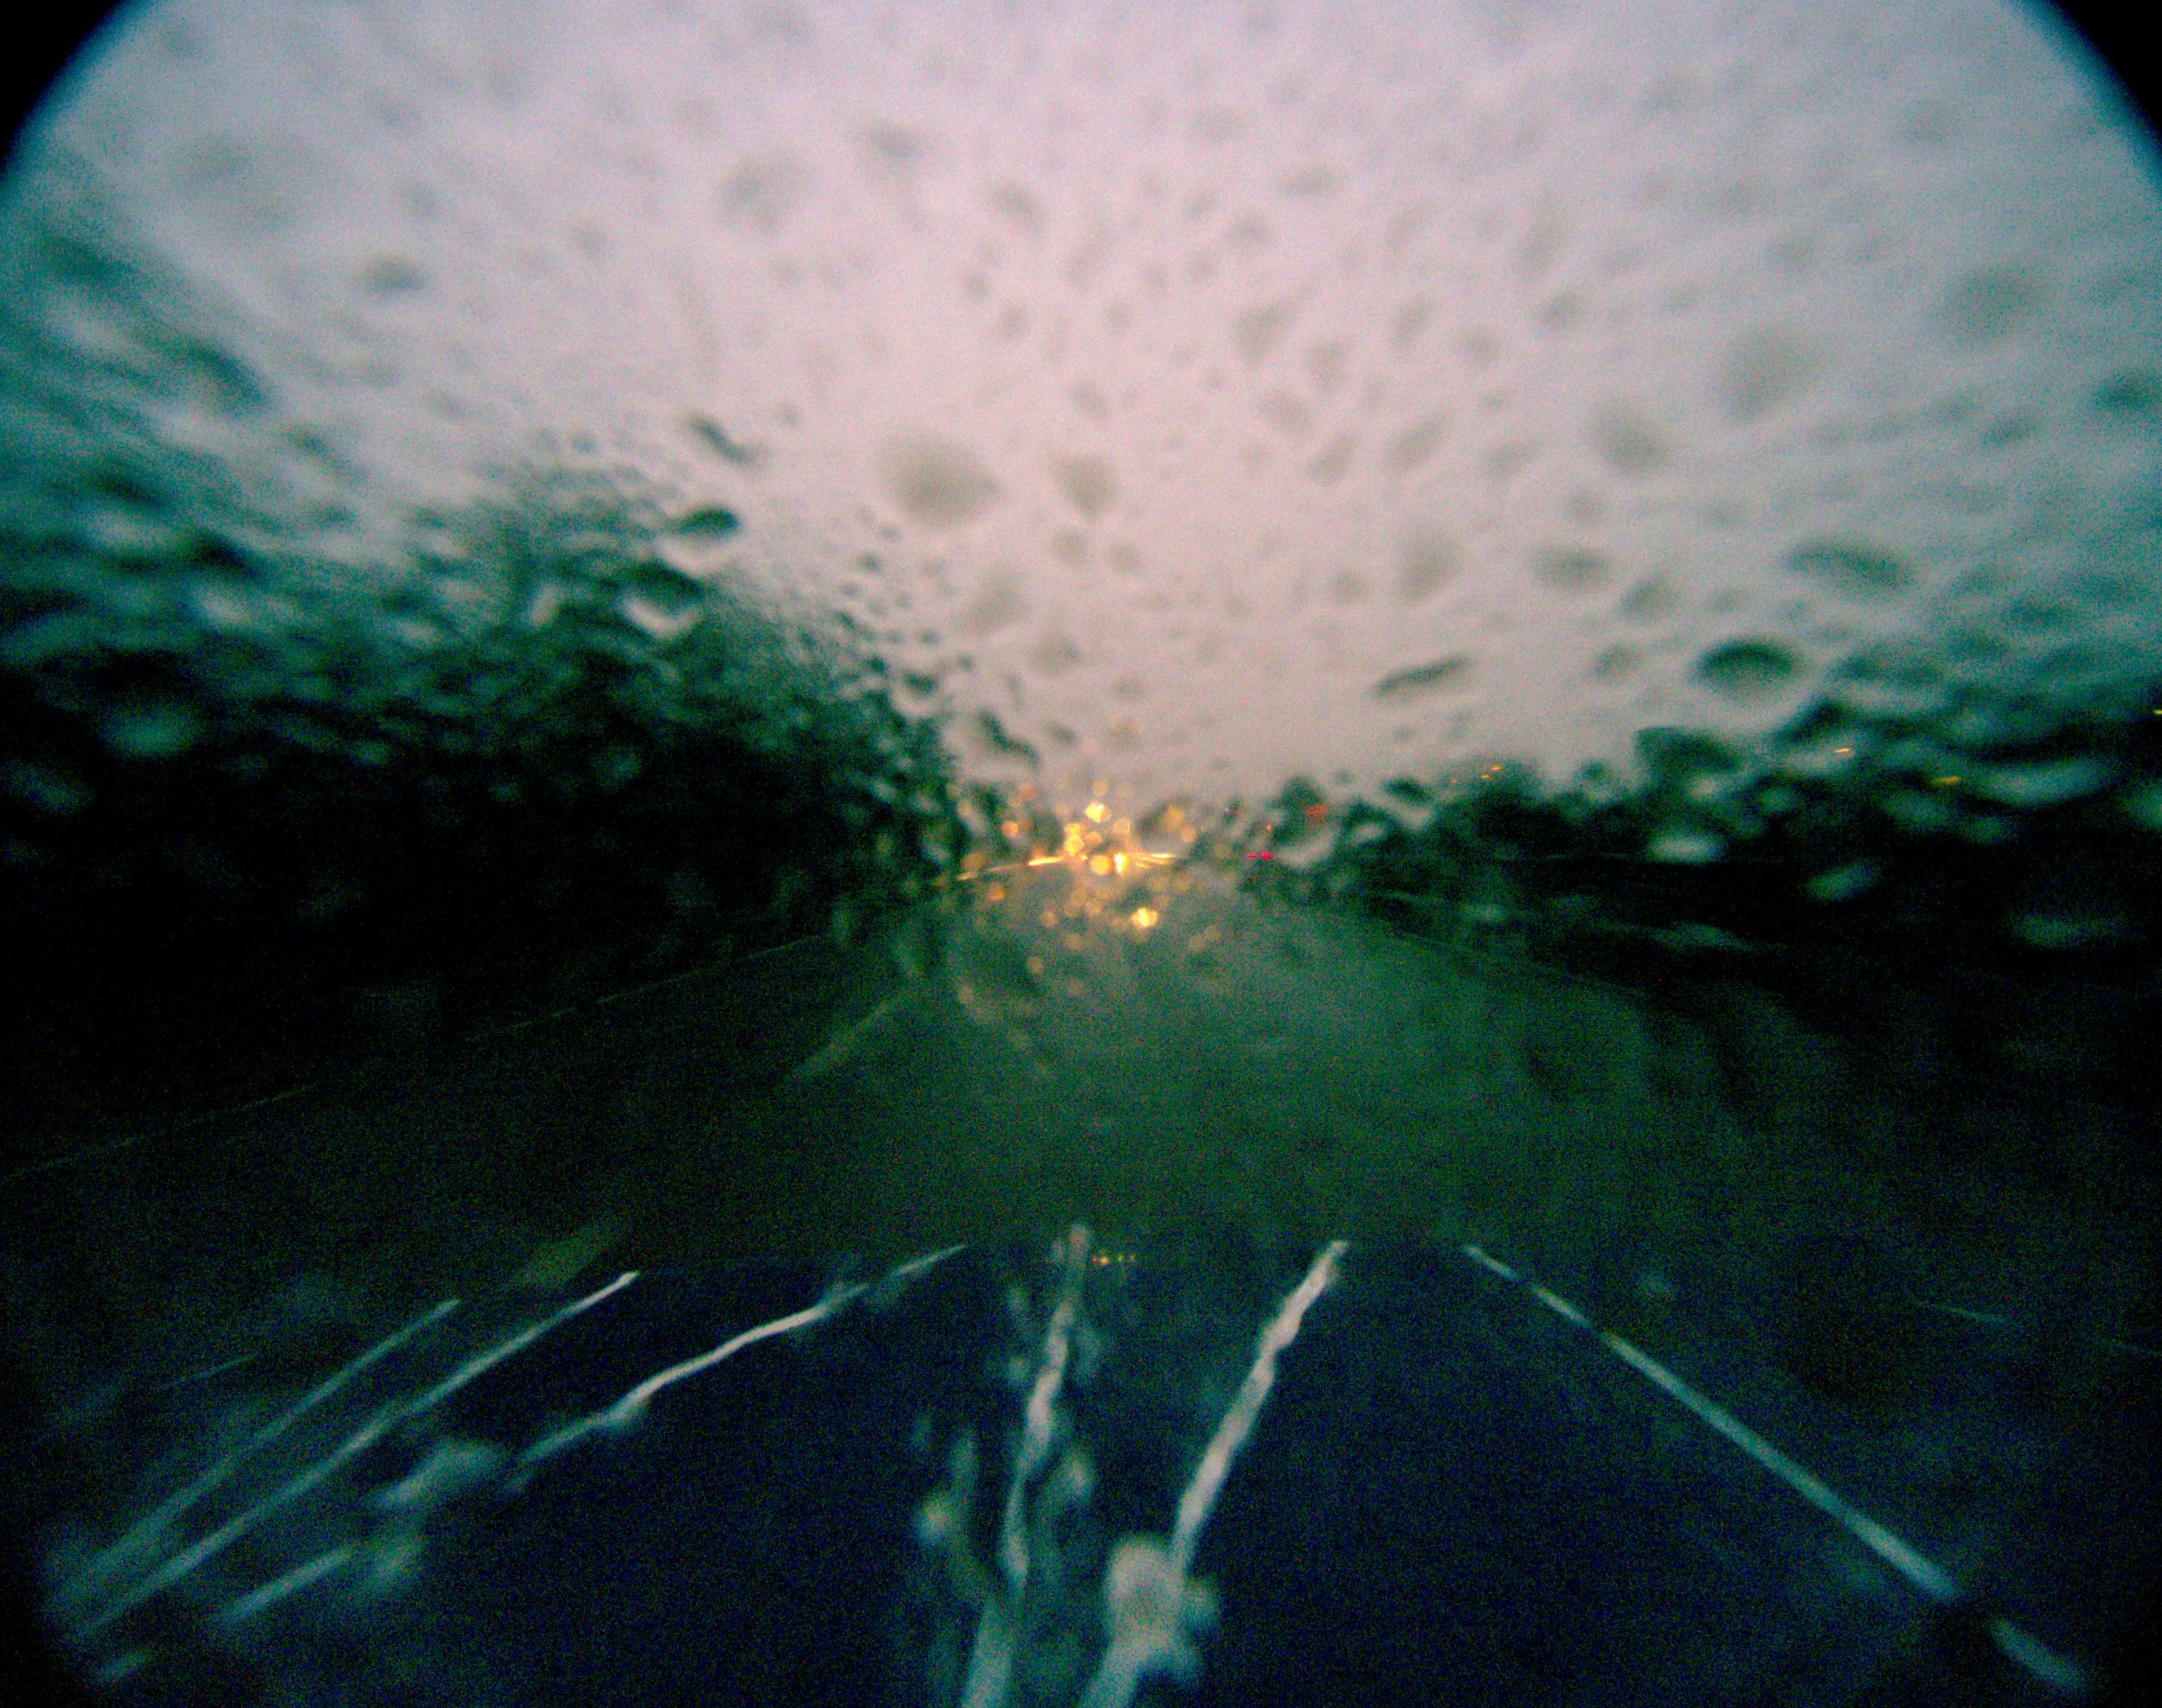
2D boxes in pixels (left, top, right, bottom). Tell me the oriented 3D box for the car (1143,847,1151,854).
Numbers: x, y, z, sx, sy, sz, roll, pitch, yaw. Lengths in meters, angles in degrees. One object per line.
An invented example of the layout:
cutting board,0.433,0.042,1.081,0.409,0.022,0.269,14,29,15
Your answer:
car,16.130,-0.872,186.646,1.745,1.630,4.000,-1,1,1

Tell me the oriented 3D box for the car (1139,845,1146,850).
car,18.640,-2.006,231.017,1.745,1.630,4.000,-1,1,1

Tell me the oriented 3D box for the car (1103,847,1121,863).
car,4.188,0.137,102.763,1.999,2.002,3.999,-4,0,-1

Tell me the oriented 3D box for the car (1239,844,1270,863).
car,14.360,-0.031,63.096,1.707,1.466,4.365,-2,1,1

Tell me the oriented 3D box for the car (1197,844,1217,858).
car,14.756,-0.382,89.406,1.707,1.466,4.365,-2,1,1
